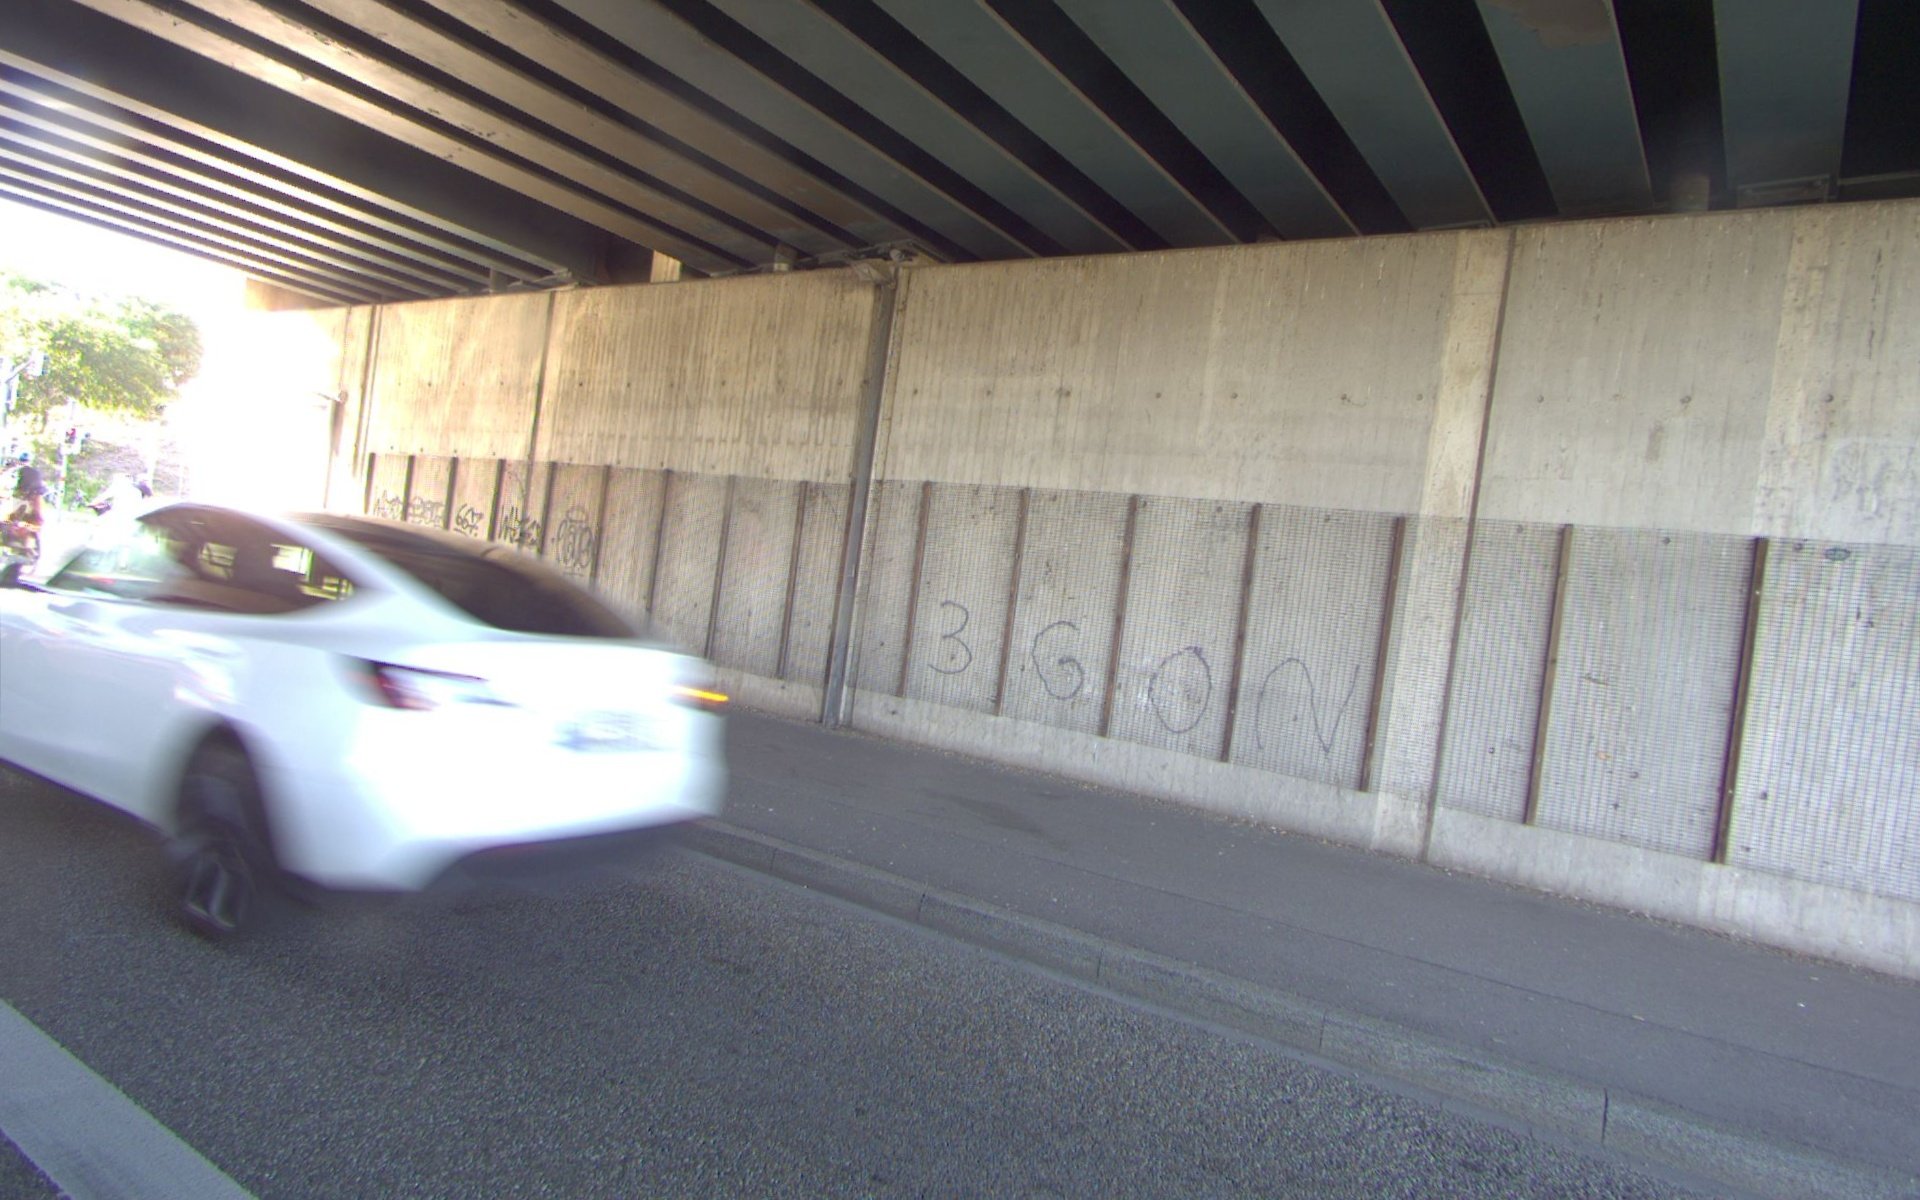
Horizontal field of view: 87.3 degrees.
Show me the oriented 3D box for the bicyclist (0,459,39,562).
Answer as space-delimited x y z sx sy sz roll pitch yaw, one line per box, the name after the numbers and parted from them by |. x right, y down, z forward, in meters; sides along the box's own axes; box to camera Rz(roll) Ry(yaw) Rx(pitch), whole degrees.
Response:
-16.133 -1.520 16.953 0.635 1.647 0.676 6 -2 42 | bicyclist

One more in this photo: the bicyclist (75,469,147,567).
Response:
-14.758 -1.427 17.491 0.723 1.581 0.670 7 0 35 | bicyclist

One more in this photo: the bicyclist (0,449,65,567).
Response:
-13.443 -1.314 14.369 0.833 1.552 0.654 7 -1 32 | bicyclist

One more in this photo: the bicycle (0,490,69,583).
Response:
-13.583 -0.947 14.426 1.749 1.181 0.652 7 -1 32 | bicycle

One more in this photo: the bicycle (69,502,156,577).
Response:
-14.677 -1.057 17.409 1.579 1.126 0.681 6 0 35 | bicycle

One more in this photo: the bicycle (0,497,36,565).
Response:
-16.114 -1.194 16.887 1.508 1.036 0.676 6 -2 43 | bicycle

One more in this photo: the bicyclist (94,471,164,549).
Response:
-19.700 -2.128 23.856 0.736 1.674 0.886 7 -1 25 | bicyclist

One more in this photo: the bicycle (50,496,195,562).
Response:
-19.776 -1.649 23.834 0.754 1.159 2.469 7 -1 24 | bicycle

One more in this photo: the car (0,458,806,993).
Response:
-3.195 0.310 5.070 4.345 1.569 1.998 7 -1 30 | car
